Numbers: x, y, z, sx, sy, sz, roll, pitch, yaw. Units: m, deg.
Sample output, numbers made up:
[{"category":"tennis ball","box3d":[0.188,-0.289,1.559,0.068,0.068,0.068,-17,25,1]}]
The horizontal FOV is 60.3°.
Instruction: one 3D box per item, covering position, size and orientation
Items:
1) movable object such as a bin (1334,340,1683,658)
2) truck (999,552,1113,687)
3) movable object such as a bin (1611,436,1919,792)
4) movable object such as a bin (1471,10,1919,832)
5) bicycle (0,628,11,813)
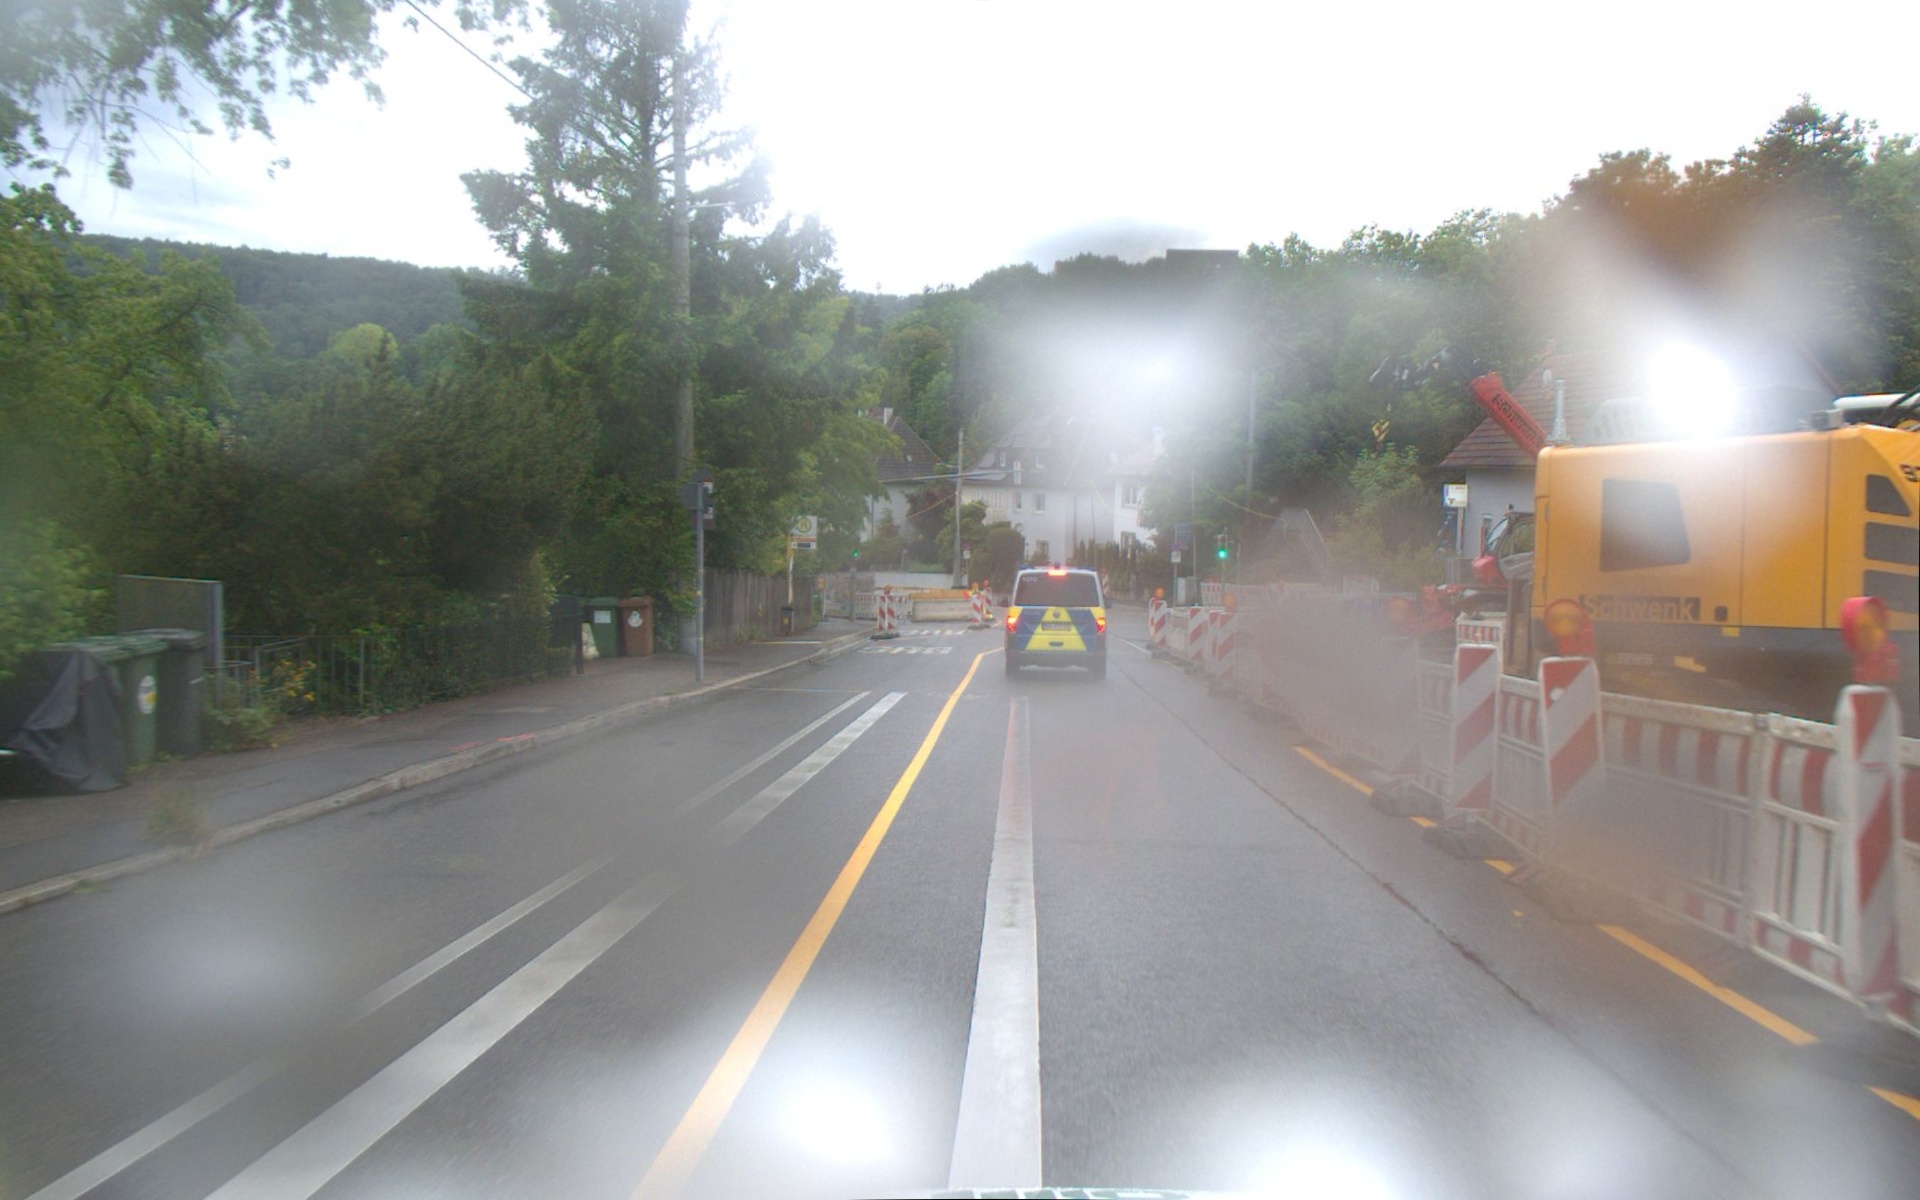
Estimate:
[{"category":"movable object such as a bin","box3d":[12.253,-2.185,37.413,6.809,6.806,3.044,1,0,-2]},{"category":"truck","box3d":[1.803,0.272,30.829,1.952,2.047,4.740,0,5,3]},{"category":"movable object such as a bin","box3d":[9.171,0.067,16.787,3.912,3.257,2.406,1,6,-8]},{"category":"movable object such as a bin","box3d":[8.161,-1.104,9.257,3.030,5.005,10.692,2,-2,-33]},{"category":"bicycle","box3d":[-6.020,0.724,9.512,0.331,1.127,1.256,1,-1,2]}]
